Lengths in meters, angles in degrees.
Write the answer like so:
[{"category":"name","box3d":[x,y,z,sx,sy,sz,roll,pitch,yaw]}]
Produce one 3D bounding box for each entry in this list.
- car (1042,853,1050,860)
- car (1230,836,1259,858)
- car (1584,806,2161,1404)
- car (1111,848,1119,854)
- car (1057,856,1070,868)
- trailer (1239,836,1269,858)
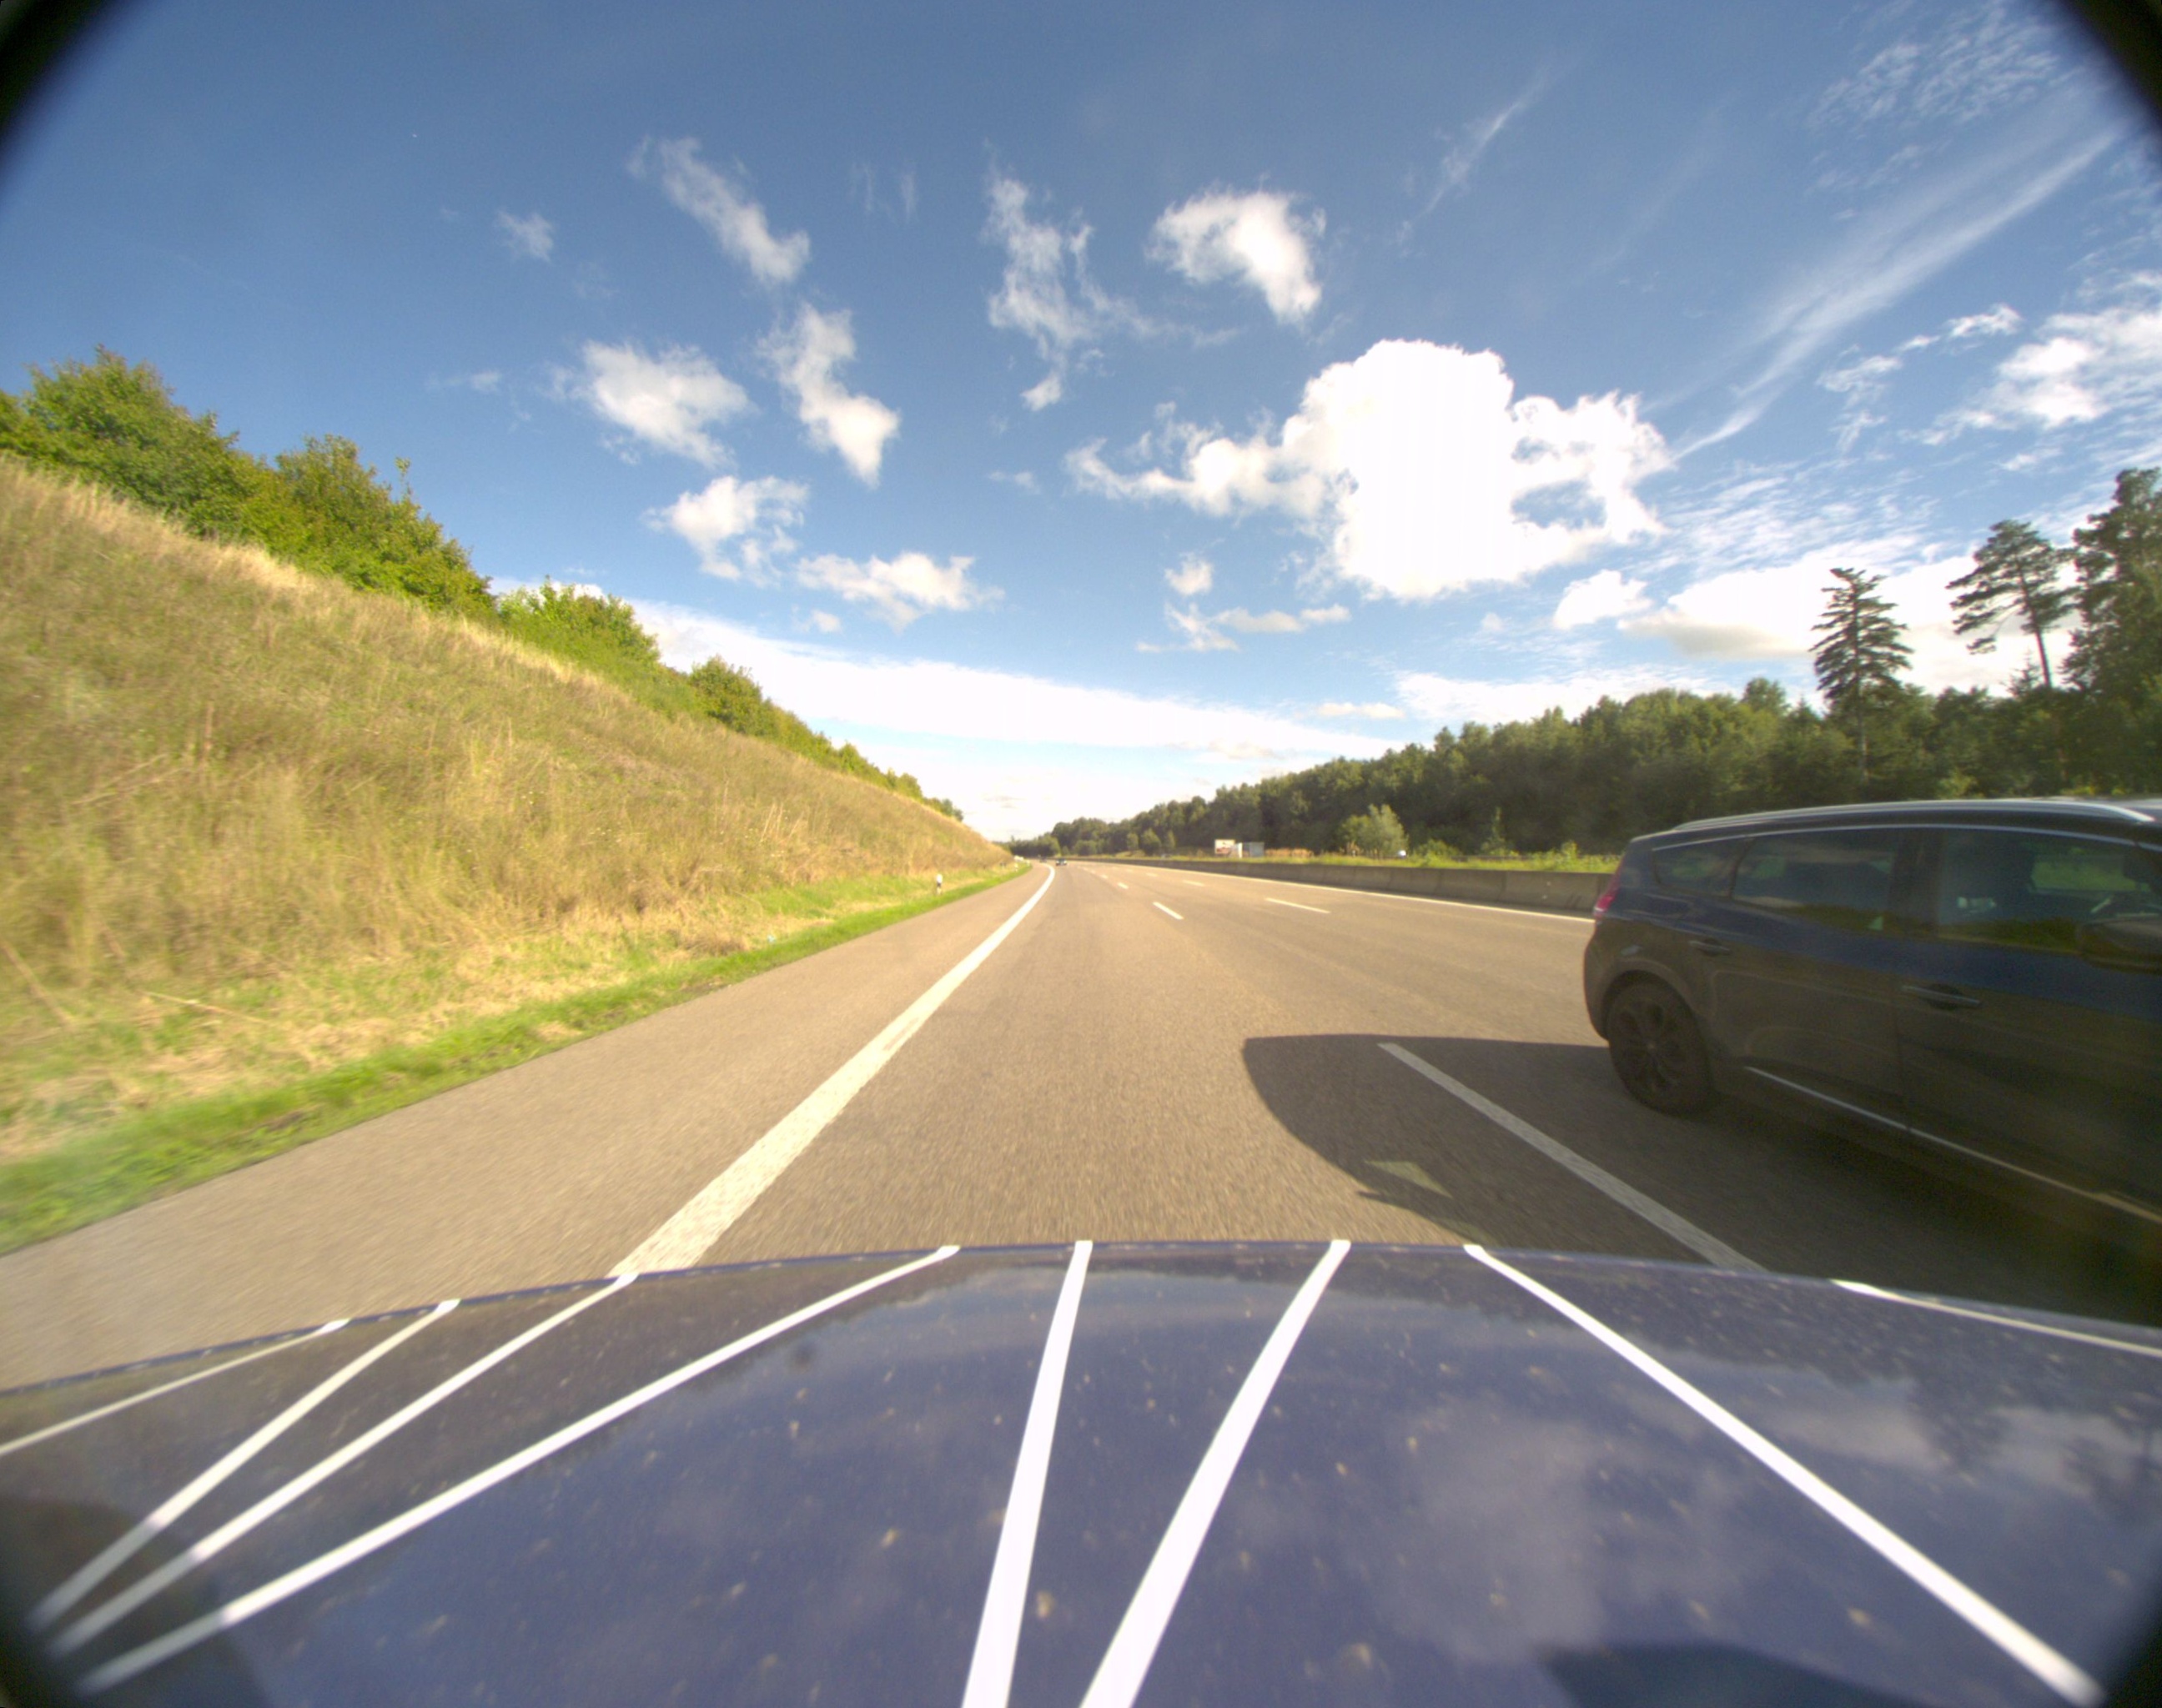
[{"category":"car","box3d":[-9.881,0.637,216.174,2.000,2.002,3.997,-3,1,-7]},{"category":"car","box3d":[21.454,-0.888,99.770,2.276,2.668,5.887,-2,0,-2]},{"category":"car","box3d":[4.045,0.682,2.363,1.998,1.697,4.529,-2,0,1]},{"category":"car","box3d":[10.621,-0.902,238.183,1.999,1.737,4.048,-2,0,-3]},{"category":"car","box3d":[-3.085,1.421,133.777,1.998,1.827,4.000,-2,1,3]},{"category":"trailer","box3d":[21.612,-0.878,94.996,2.276,2.668,5.561,-2,0,-2]}]
